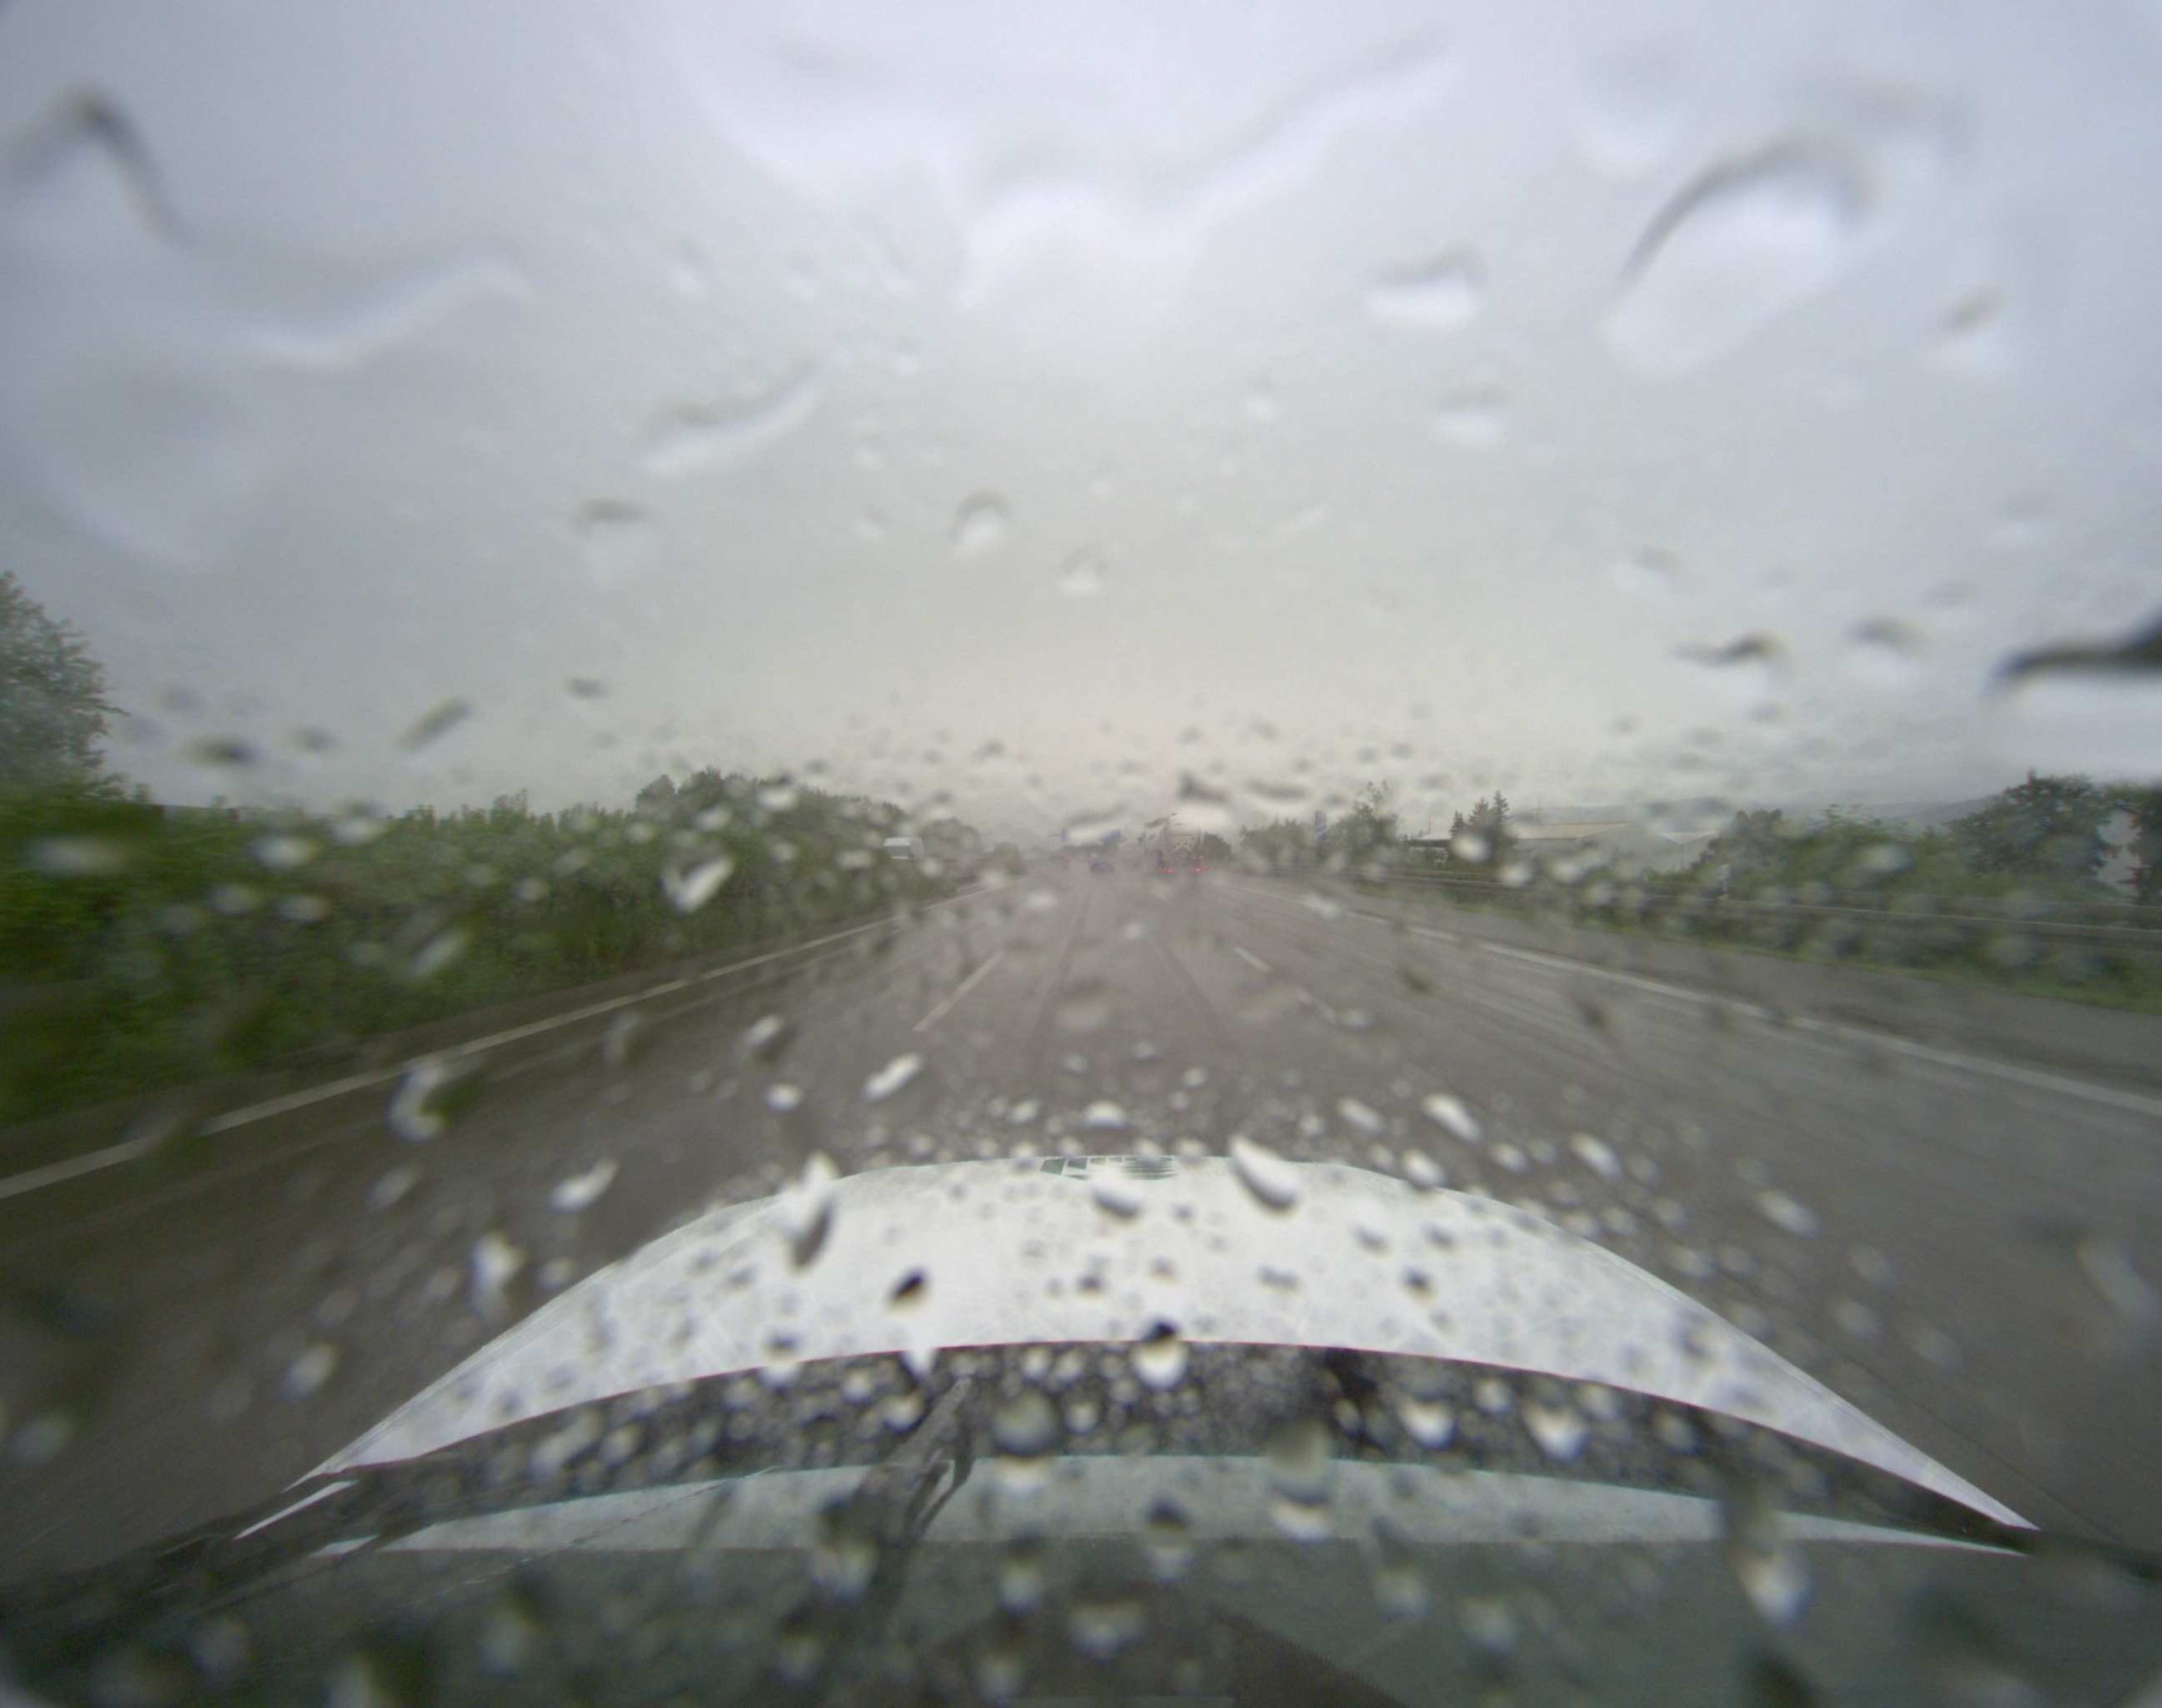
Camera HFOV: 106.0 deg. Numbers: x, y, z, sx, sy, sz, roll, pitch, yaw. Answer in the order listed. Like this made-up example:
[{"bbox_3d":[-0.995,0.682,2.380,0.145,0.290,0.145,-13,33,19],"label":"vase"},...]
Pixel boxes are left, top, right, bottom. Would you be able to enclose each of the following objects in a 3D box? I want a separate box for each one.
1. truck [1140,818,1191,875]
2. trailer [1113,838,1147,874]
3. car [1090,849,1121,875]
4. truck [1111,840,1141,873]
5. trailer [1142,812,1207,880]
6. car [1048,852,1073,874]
[{"bbox_3d":[5.907,-0.512,58.291,3.093,3.806,7.215,-1,0,2],"label":"truck"},{"bbox_3d":[5.458,0.192,91.936,2.997,3.848,8.617,-1,0,-2],"label":"trailer"},{"bbox_3d":[1.742,0.529,57.142,1.970,1.756,4.485,-1,0,3],"label":"car"},{"bbox_3d":[5.275,0.309,95.920,2.936,3.684,6.357,-1,0,-2],"label":"truck"},{"bbox_3d":[5.565,-0.430,50.531,3.176,3.670,11.674,-1,0,3],"label":"trailer"},{"bbox_3d":[-1.710,0.711,68.704,1.918,1.741,4.404,-1,0,1],"label":"car"}]
